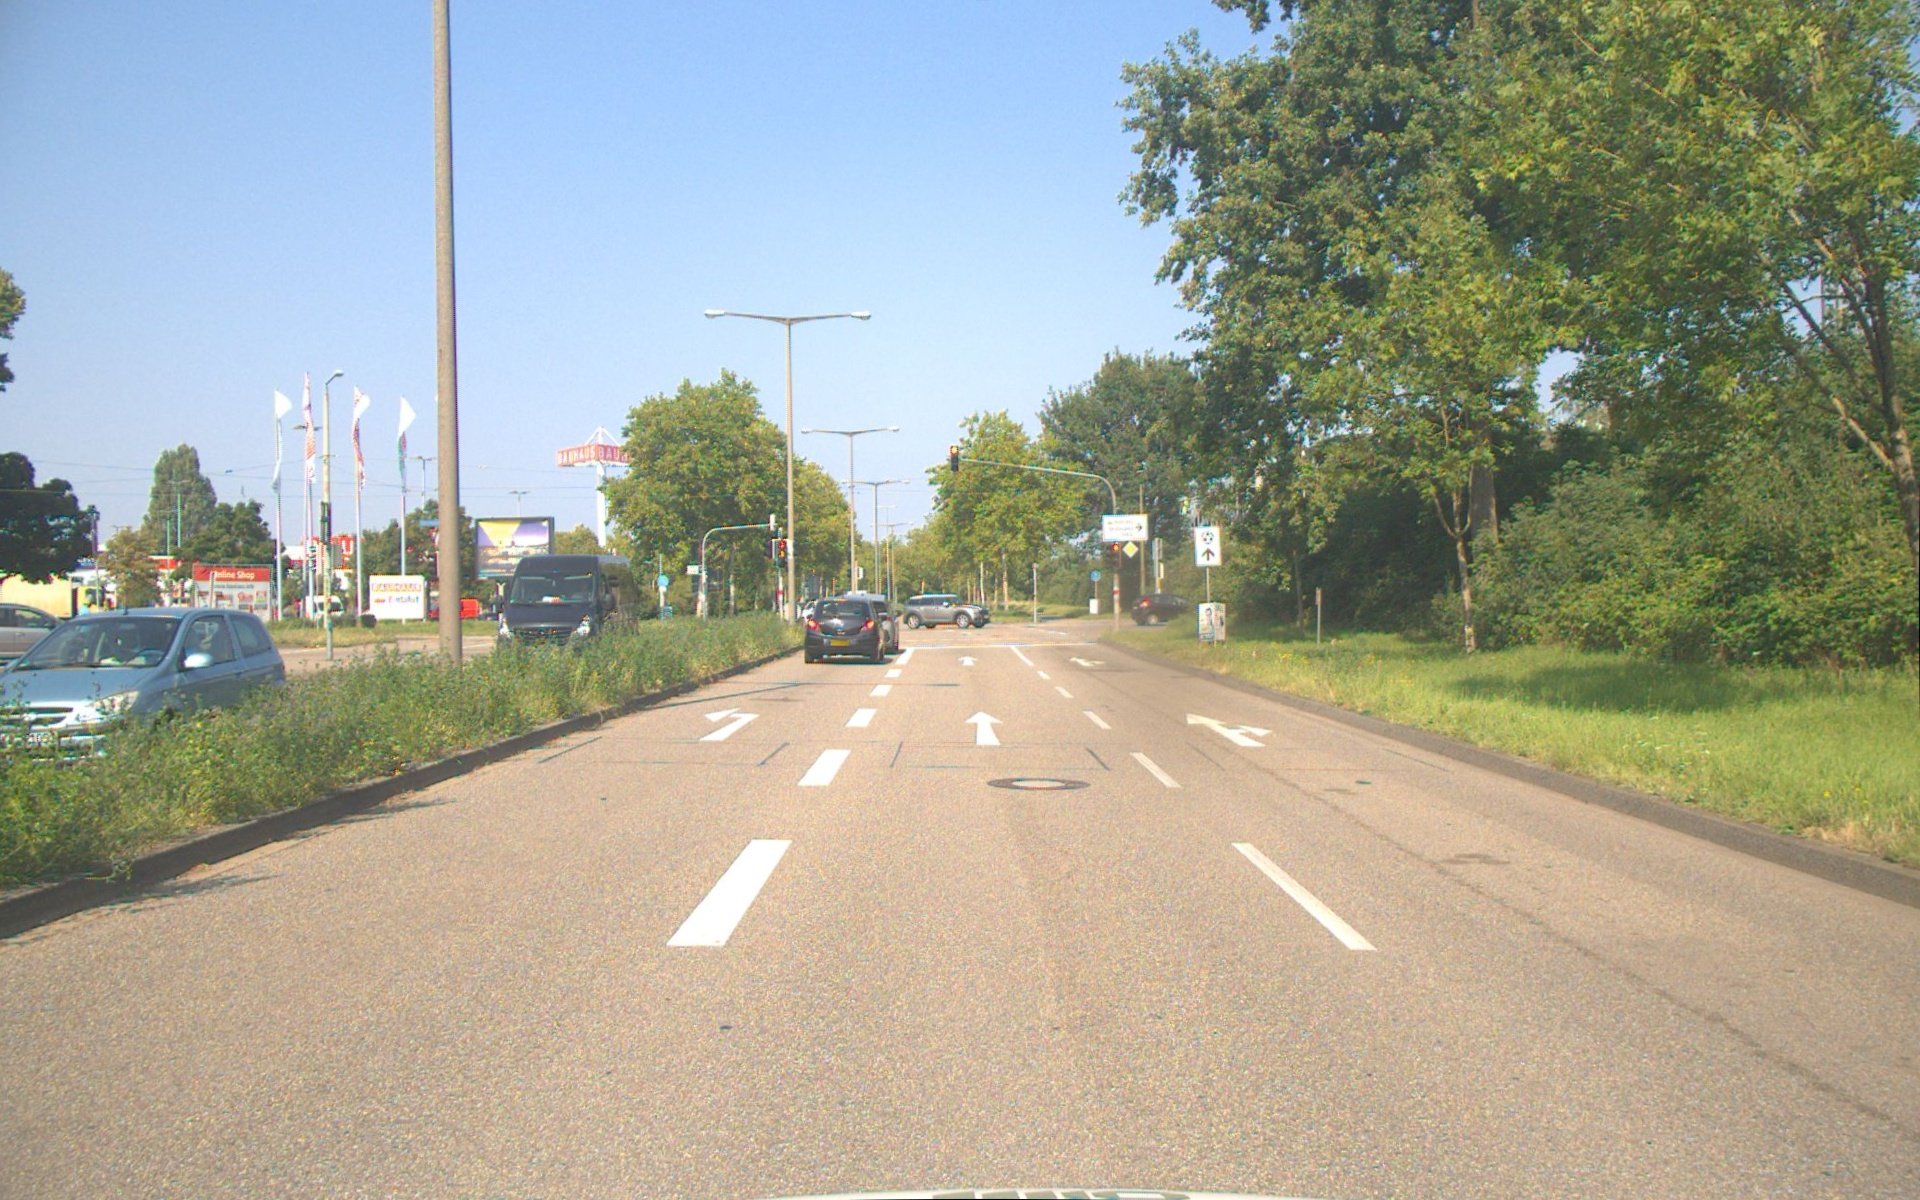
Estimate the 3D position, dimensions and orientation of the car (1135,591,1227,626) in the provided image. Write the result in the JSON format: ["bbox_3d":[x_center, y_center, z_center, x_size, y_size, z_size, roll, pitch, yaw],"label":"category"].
[{"bbox_3d":[10.136,0.398,76.115,3.886,1.560,1.820,0,0,-7],"label":"car"}]

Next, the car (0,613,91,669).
[{"bbox_3d":[-25.825,1.102,45.054,3.662,1.468,1.448,0,0,-37],"label":"car"}]

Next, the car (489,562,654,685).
[{"bbox_3d":[-8.109,0.464,35.165,2.069,2.373,6.281,0,0,-1],"label":"car"}]

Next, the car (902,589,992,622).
[{"bbox_3d":[-0.595,0.249,76.928,3.890,1.512,1.623,0,0,28],"label":"car"}]

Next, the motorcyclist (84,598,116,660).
[{"bbox_3d":[-22.733,0.757,43.716,0.676,1.599,0.675,0,-1,-36],"label":"motorcyclist"}]

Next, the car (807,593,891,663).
[{"bbox_3d":[-2.498,0.608,37.944,1.657,1.512,3.999,0,0,0],"label":"car"}]

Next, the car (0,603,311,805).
[{"bbox_3d":[-7.584,0.830,15.096,1.737,1.601,4.000,0,0,0],"label":"car"}]

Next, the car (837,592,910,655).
[{"bbox_3d":[-2.193,0.573,42.687,1.657,1.512,4.000,-2,0,0],"label":"car"}]

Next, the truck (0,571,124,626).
[{"bbox_3d":[-53.381,-0.062,95.229,8.916,3.009,3.469,-2,0,-37],"label":"truck"}]

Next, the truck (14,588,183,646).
[{"bbox_3d":[-35.872,0.691,68.976,5.861,2.370,2.104,0,0,-3],"label":"truck"}]

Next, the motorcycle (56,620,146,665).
[{"bbox_3d":[-22.698,1.110,43.736,2.053,1.156,0.669,0,-1,-36],"label":"motorcycle"}]

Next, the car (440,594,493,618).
[{"bbox_3d":[-43.979,0.531,147.422,4.238,2.049,1.977,0,0,-33],"label":"car"}]
